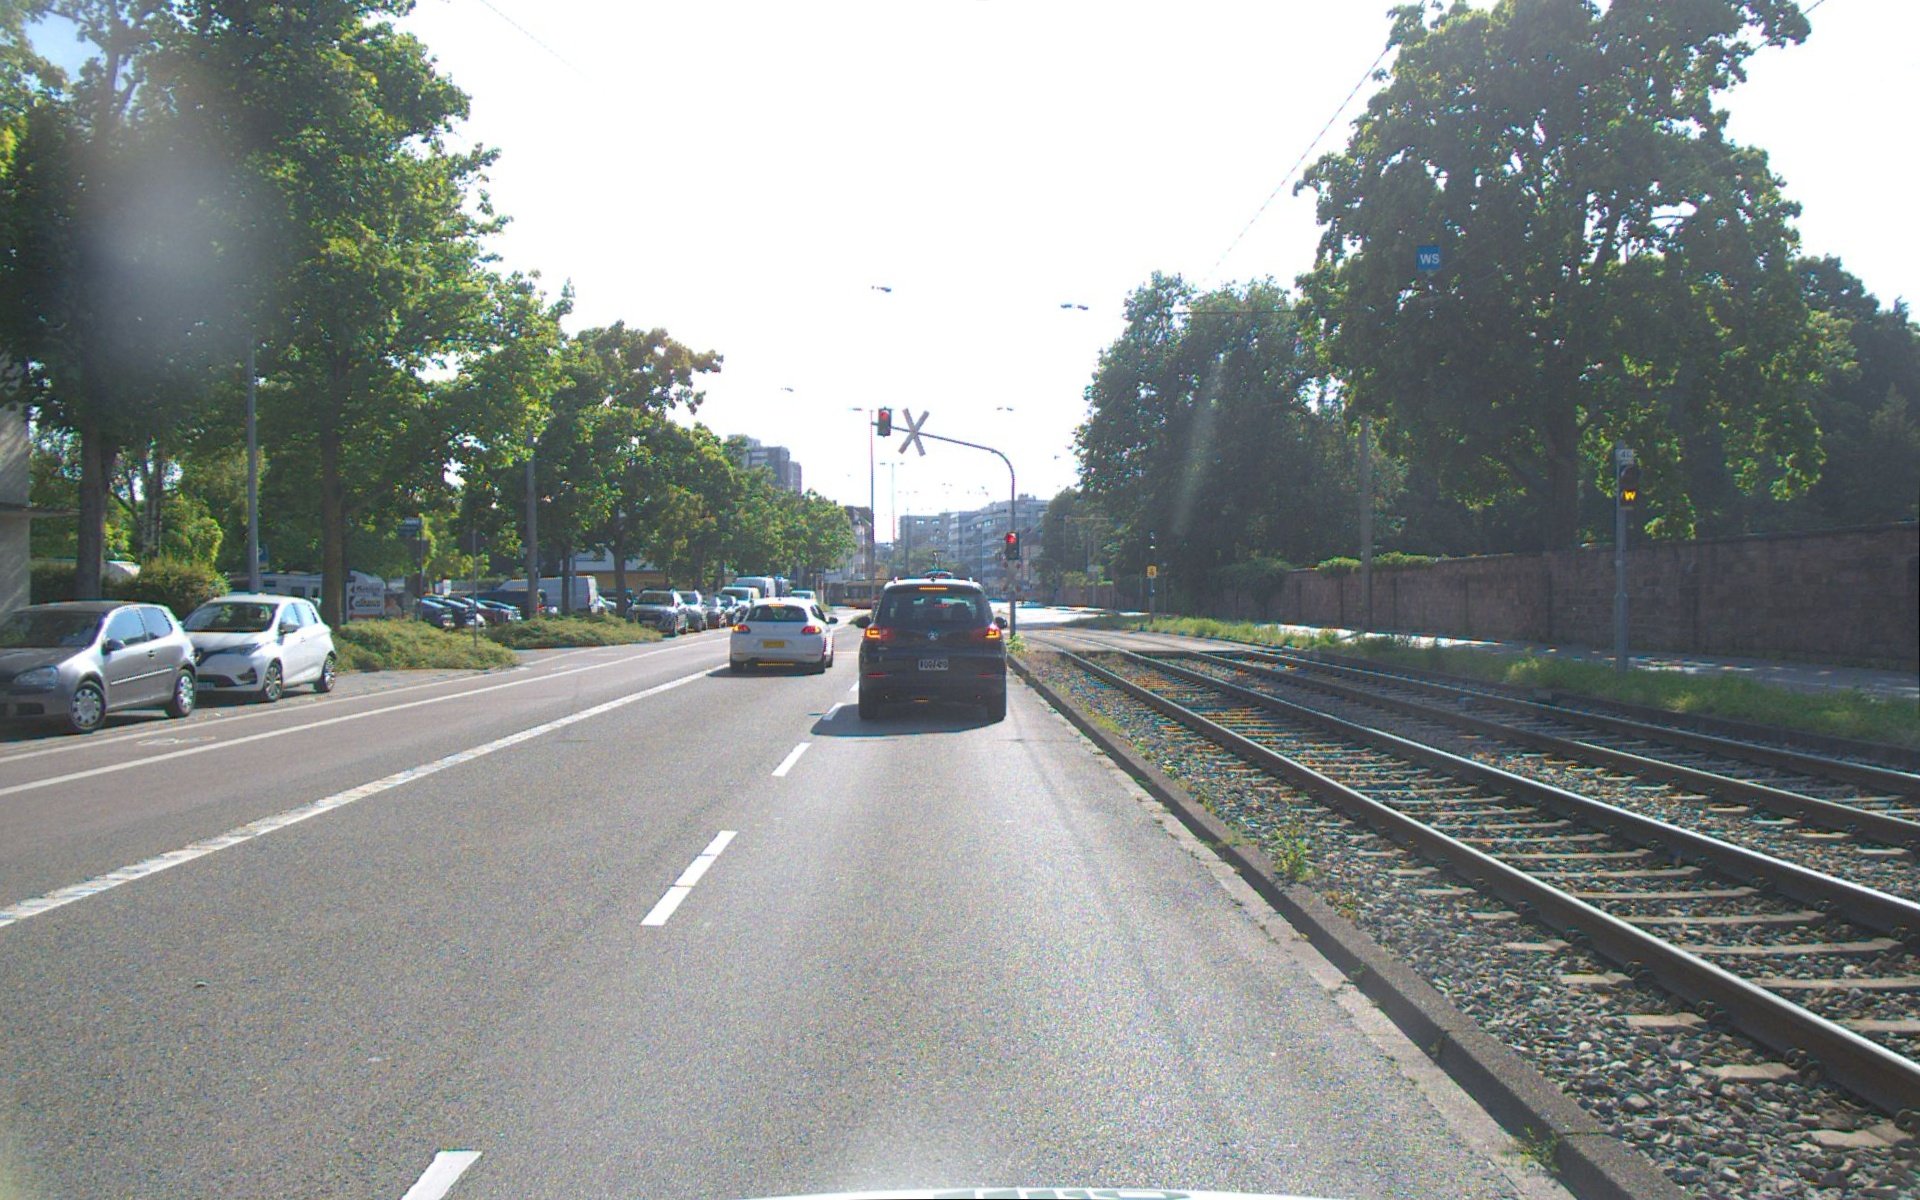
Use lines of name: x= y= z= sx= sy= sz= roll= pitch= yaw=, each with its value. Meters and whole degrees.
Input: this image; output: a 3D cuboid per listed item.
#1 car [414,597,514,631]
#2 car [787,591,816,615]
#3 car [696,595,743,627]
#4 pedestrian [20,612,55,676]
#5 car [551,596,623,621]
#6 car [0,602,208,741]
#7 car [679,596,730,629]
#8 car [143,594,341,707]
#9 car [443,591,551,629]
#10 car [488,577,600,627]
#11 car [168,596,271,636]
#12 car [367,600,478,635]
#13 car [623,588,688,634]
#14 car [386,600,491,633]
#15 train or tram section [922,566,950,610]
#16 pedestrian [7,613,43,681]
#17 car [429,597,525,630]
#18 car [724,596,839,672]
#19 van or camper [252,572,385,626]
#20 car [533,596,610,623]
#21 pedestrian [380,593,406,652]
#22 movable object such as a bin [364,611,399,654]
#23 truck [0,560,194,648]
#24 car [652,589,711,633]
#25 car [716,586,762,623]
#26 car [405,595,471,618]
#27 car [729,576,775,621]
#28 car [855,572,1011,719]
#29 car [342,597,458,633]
car: x=-21.702 y=0.600 z=72.481 sx=3.908 sy=1.422 sz=1.736 roll=-1 pitch=0 yaw=-4
car: x=-11.759 y=0.195 z=122.704 sx=1.696 sy=1.724 sz=4.001 roll=-1 pitch=1 yaw=1
car: x=-11.740 y=0.512 z=80.851 sx=1.696 sy=1.475 sz=3.735 roll=-1 pitch=1 yaw=1
pedestrian: x=-17.940 y=0.856 z=32.181 sx=0.435 sy=1.238 sz=0.391 roll=-1 pitch=0 yaw=7
car: x=-21.796 y=0.493 z=96.759 sx=3.908 sy=1.422 sz=1.736 roll=-1 pitch=0 yaw=-4
car: x=-10.778 y=0.787 z=20.070 sx=1.643 sy=1.494 sz=3.966 roll=0 pitch=0 yaw=-3
car: x=-11.551 y=0.556 z=74.967 sx=1.696 sy=1.413 sz=3.735 roll=-1 pitch=1 yaw=1
car: x=-10.983 y=0.712 z=25.585 sx=1.569 sy=1.577 sz=3.891 roll=1 pitch=0 yaw=-4
car: x=-21.754 y=0.450 z=77.837 sx=4.525 sy=1.680 sz=2.048 roll=-1 pitch=0 yaw=-3
car: x=-21.565 y=0.093 z=85.831 sx=5.266 sy=2.466 sz=2.087 roll=-1 pitch=0 yaw=-1
car: x=-33.713 y=0.717 z=75.363 sx=3.912 sy=1.758 sz=1.624 roll=-1 pitch=0 yaw=-8
car: x=-21.737 y=0.715 z=66.980 sx=3.908 sy=1.330 sz=1.736 roll=-1 pitch=0 yaw=-4
car: x=-11.571 y=0.383 z=63.069 sx=1.696 sy=1.687 sz=4.000 roll=-1 pitch=0 yaw=1
car: x=-22.133 y=0.703 z=70.260 sx=3.908 sy=1.330 sz=1.736 roll=-1 pitch=0 yaw=-4
train or tram section: x=-2.020 y=-1.048 z=141.914 sx=2.279 sy=3.632 sz=8.899 roll=-1 pitch=0 yaw=-1
pedestrian: x=-16.494 y=0.832 z=29.192 sx=0.339 sy=1.182 sz=0.446 roll=-1 pitch=0 yaw=7
car: x=-22.006 y=0.588 z=75.444 sx=3.908 sy=1.422 sz=1.736 roll=-1 pitch=0 yaw=-4
car: x=-3.394 y=0.614 z=32.122 sx=1.827 sy=1.371 sz=4.000 roll=0 pitch=0 yaw=-1
van or camper: x=-35.005 y=-0.066 z=90.352 sx=6.331 sy=2.918 sz=2.307 roll=0 pitch=0 yaw=0
car: x=-21.414 y=0.516 z=91.293 sx=3.908 sy=1.422 sz=1.736 roll=-1 pitch=0 yaw=-4
pedestrian: x=-16.028 y=0.635 z=46.765 sx=0.514 sy=1.656 sz=0.610 roll=-1 pitch=0 yaw=-1
movable object such as a bin: x=-16.026 y=0.890 z=45.828 sx=0.531 sy=1.166 sz=1.261 roll=-1 pitch=0 yaw=-1
truck: x=-34.145 y=0.148 z=65.249 sx=6.823 sy=3.298 sz=1.986 roll=-1 pitch=0 yaw=-3
car: x=-11.514 y=0.442 z=68.658 sx=1.696 sy=1.724 sz=4.001 roll=-1 pitch=1 yaw=1
car: x=-11.494 y=0.209 z=86.174 sx=1.696 sy=1.892 sz=4.490 roll=-1 pitch=0 yaw=1
car: x=-34.899 y=0.419 z=110.609 sx=3.908 sy=1.422 sz=1.736 roll=-1 pitch=0 yaw=-4
car: x=-11.637 y=-0.094 z=92.847 sx=1.825 sy=2.388 sz=4.985 roll=-1 pitch=0 yaw=1
car: x=-0.326 y=0.527 z=20.971 sx=1.774 sy=1.673 sz=3.999 roll=0 pitch=0 yaw=-1
car: x=-21.765 y=0.566 z=64.388 sx=3.908 sy=1.330 sz=1.736 roll=-1 pitch=0 yaw=-4
